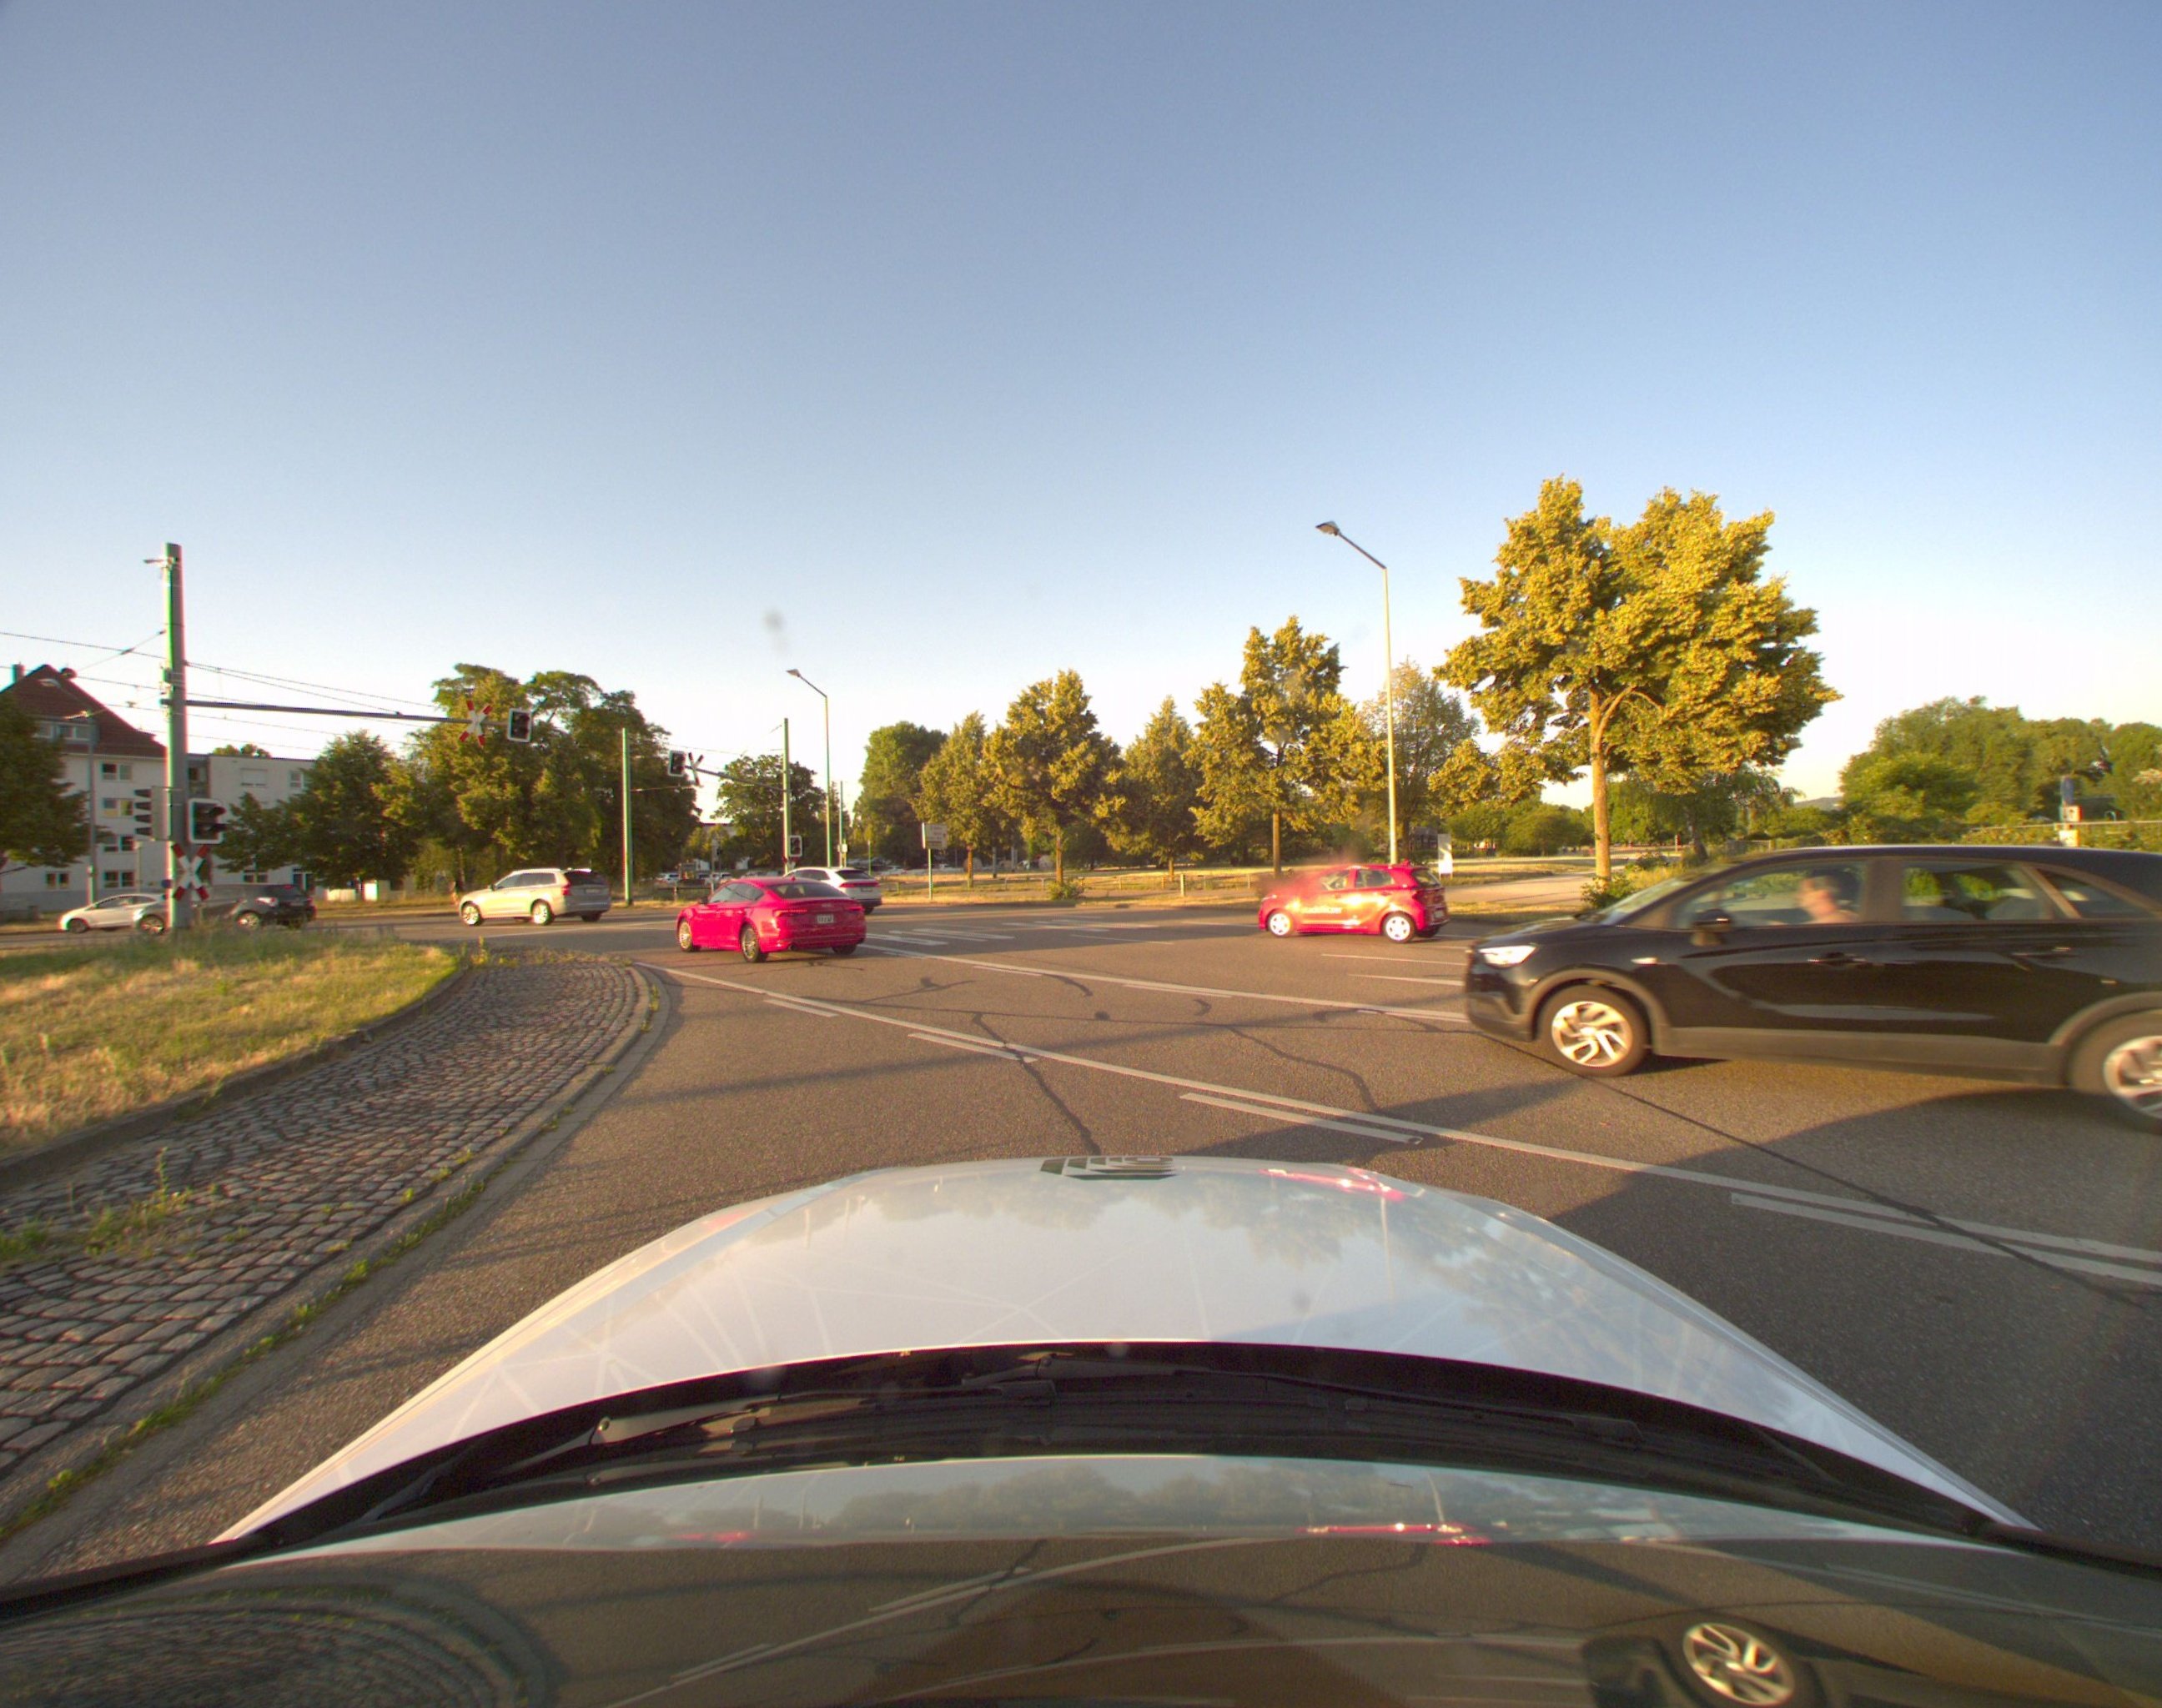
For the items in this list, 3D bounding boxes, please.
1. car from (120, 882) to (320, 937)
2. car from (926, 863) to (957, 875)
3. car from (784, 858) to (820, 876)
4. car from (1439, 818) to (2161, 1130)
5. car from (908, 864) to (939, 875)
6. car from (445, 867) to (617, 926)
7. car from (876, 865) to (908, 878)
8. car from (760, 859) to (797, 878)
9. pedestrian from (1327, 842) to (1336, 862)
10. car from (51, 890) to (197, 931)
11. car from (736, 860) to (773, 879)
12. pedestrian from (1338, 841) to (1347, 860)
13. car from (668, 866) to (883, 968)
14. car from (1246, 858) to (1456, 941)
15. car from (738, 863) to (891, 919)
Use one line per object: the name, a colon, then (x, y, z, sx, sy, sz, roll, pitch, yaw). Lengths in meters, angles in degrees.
car: (-28.235, 1.792, 26.833, 4.432, 1.633, 1.801, -1, -1, -4)
car: (-19.967, 2.114, 116.712, 3.948, 1.551, 2.013, -2, 0, 33)
car: (-33.459, 1.547, 97.683, 3.948, 2.098, 2.013, -2, 0, 34)
car: (4.842, 0.662, 5.677, 4.083, 1.613, 1.733, -2, -1, 30)
car: (-22.025, 2.180, 114.151, 3.948, 1.551, 2.013, -2, 0, 33)
car: (-17.650, 1.356, 26.162, 4.866, 1.754, 1.931, -1, -1, 17)
car: (-25.252, 2.346, 108.723, 3.948, 1.551, 2.013, -2, 0, 33)
car: (-35.301, 1.645, 95.048, 3.948, 2.098, 2.013, -2, 0, 34)
pedestrian: (20.800, -0.174, 67.635, 0.526, 1.626, 0.584, -2, 0, 39)
car: (-38.364, 2.232, 32.748, 3.486, 1.443, 1.544, -1, -1, -19)
car: (-37.106, 1.741, 92.460, 3.948, 2.098, 2.013, -2, 0, 34)
pedestrian: (21.652, -0.287, 67.485, 0.523, 1.626, 0.624, -2, 0, 37)
car: (-5.553, 0.978, 14.479, 1.856, 1.460, 4.524, -1, 0, -45)
car: (5.347, 0.865, 16.312, 3.586, 1.483, 1.738, -2, -2, 40)
car: (-9.033, 1.201, 27.548, 4.880, 1.710, 1.925, -1, 0, 26)
